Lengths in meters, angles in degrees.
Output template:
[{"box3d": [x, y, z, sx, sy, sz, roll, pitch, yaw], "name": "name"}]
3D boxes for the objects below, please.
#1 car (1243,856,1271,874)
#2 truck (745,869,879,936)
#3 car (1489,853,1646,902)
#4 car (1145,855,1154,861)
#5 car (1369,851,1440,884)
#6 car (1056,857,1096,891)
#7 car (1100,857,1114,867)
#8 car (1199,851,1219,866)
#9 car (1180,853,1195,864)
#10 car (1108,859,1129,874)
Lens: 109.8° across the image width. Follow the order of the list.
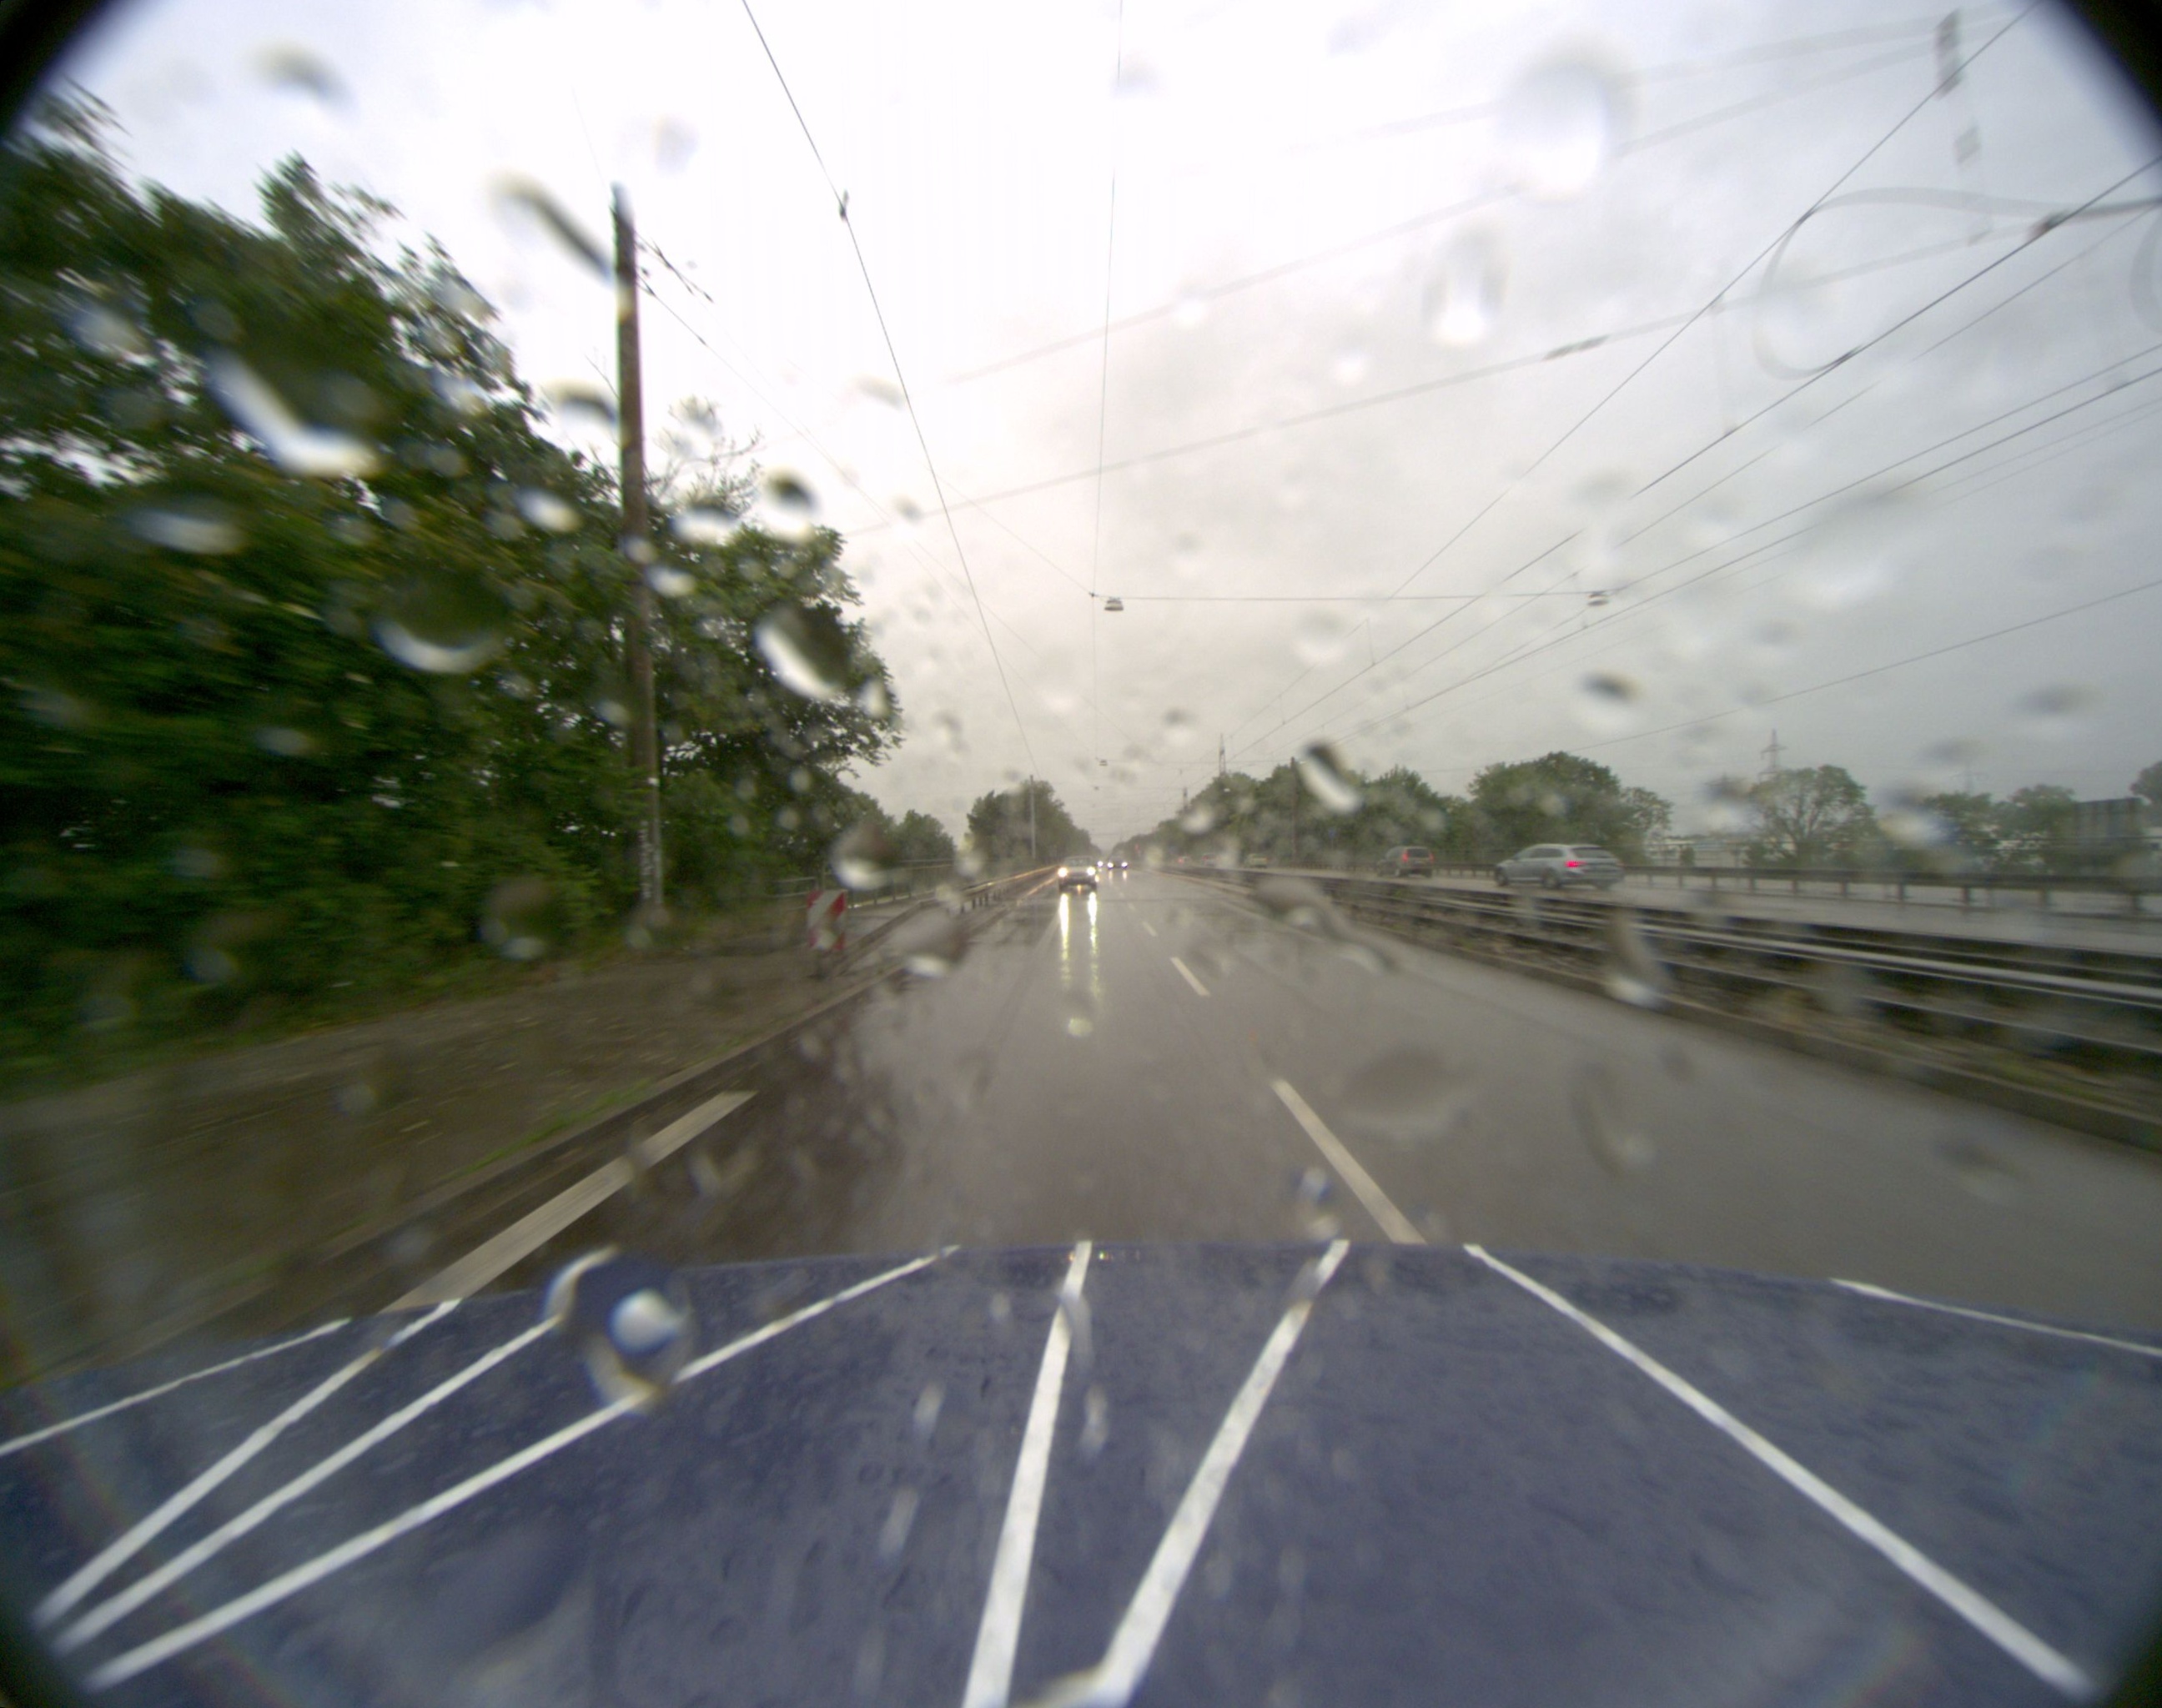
[{"box3d": [17.352, 1.073, 75.130, 1.851, 1.585, 4.000, -2, 1, 1], "name": "car"}, {"box3d": [-21.421, 3.617, 59.985, 12.344, 4.419, 3.148, 1, 3, 34], "name": "truck"}, {"box3d": [15.721, 0.692, 24.952, 1.999, 1.380, 4.853, -2, 0, 0], "name": "car"}, {"box3d": [18.453, 1.057, 204.788, 1.777, 1.621, 3.670, -5, 1, 1], "name": "car"}, {"box3d": [16.861, 0.667, 39.841, 1.845, 1.565, 4.385, -2, 1, 1], "name": "car"}, {"box3d": [-0.182, 0.881, 35.275, 1.751, 1.412, 4.000, -1, 1, 1], "name": "car"}, {"box3d": [3.811, 1.164, 113.489, 1.971, 1.412, 4.000, -1, 1, 1], "name": "car"}, {"box3d": [17.364, 0.627, 102.964, 1.853, 1.821, 4.393, -5, 1, 1], "name": "car"}, {"box3d": [18.091, 0.747, 129.386, 1.998, 1.608, 4.000, -2, 1, 1], "name": "car"}, {"box3d": [3.883, 1.240, 78.975, 1.971, 1.412, 4.000, -1, 1, 1], "name": "car"}]
